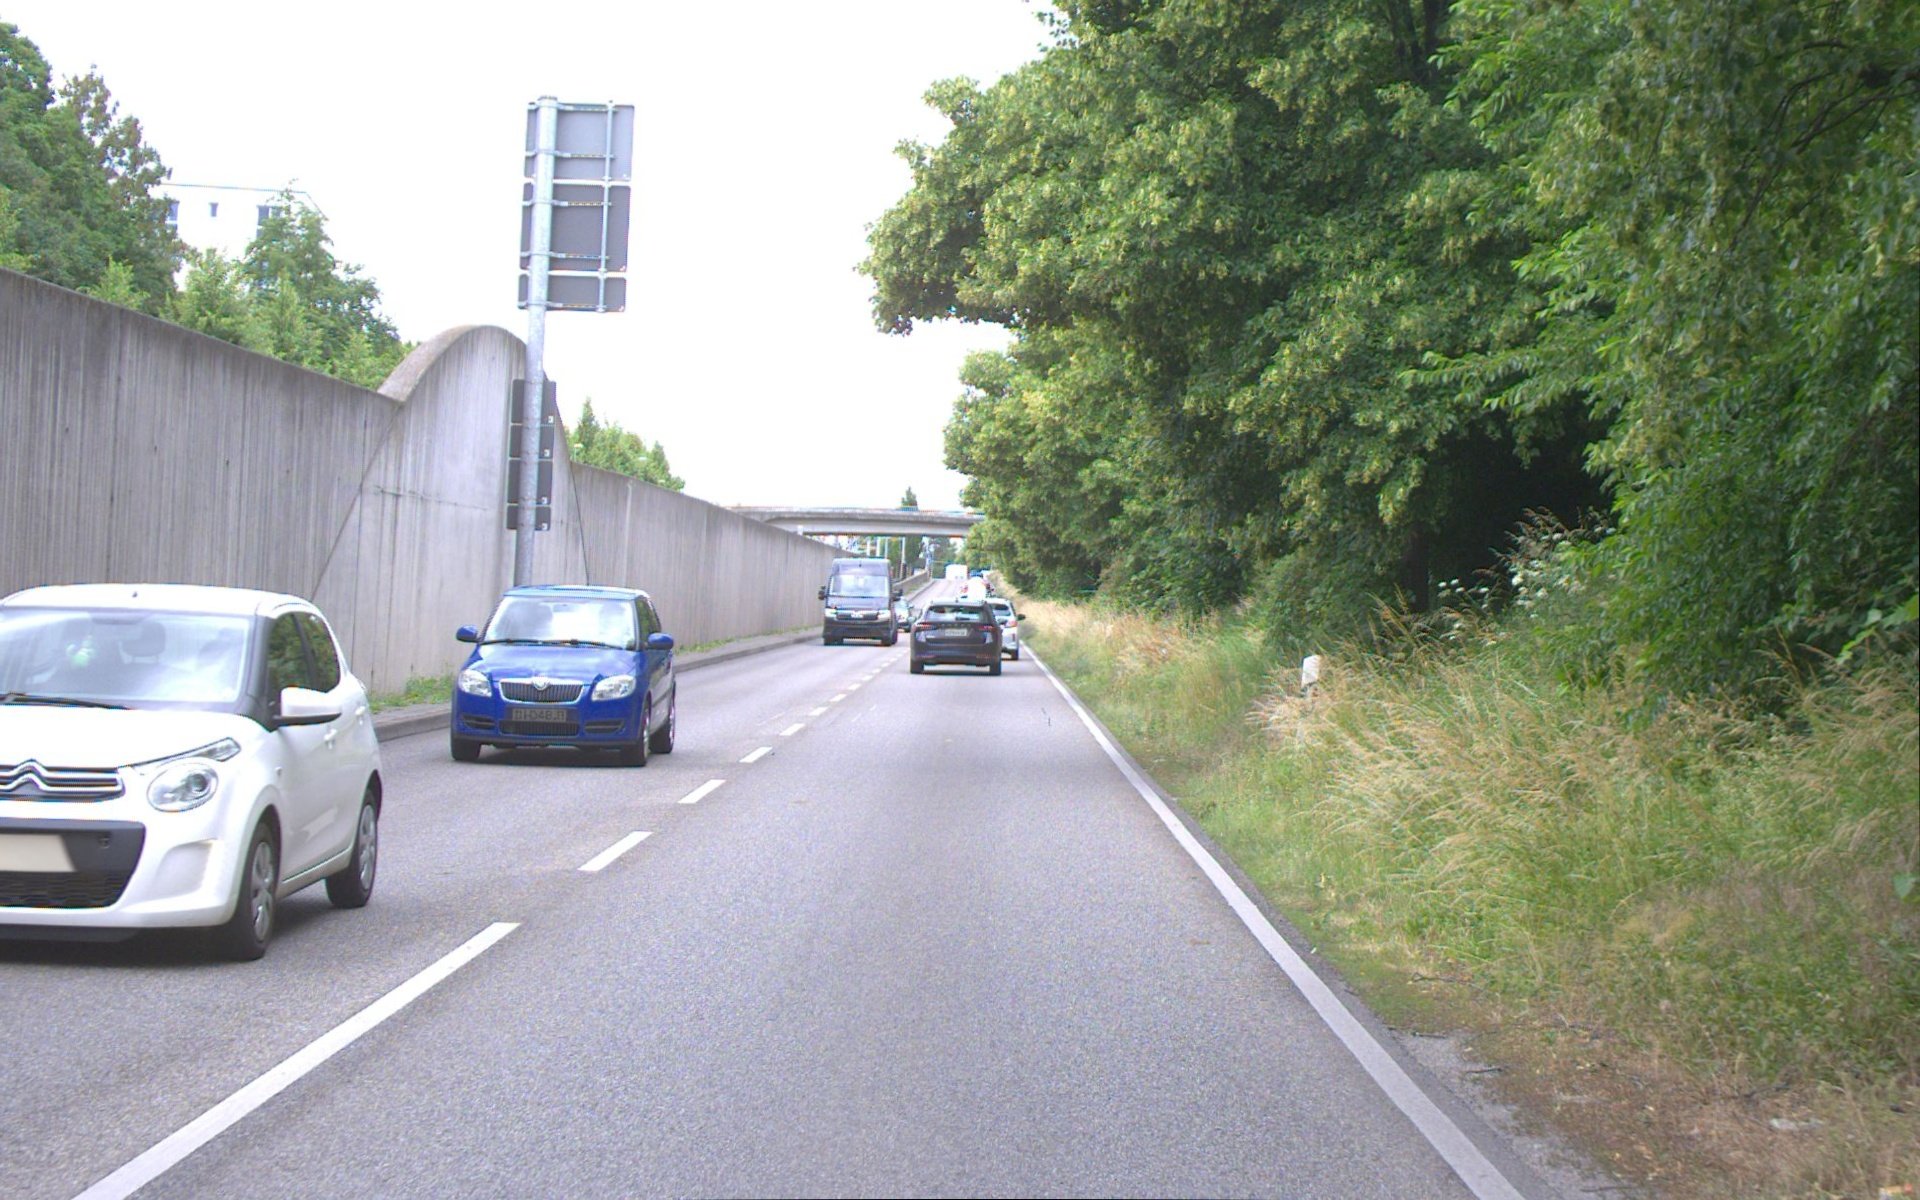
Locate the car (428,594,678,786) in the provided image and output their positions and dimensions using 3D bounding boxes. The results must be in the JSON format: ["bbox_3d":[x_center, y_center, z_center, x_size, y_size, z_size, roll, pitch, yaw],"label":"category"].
[{"bbox_3d":[-3.480,0.740,30.034,1.767,1.490,4.208,2,0,-2],"label":"car"}]

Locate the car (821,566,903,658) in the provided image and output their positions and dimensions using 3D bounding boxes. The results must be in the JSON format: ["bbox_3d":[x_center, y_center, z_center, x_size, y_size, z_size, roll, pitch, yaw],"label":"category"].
[{"bbox_3d":[-2.894,0.384,103.364,2.110,2.622,7.416,1,0,1],"label":"car"}]

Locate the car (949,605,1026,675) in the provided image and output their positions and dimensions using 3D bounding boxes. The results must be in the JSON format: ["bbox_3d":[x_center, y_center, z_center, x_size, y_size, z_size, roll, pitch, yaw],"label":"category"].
[{"bbox_3d":[0.642,0.983,83.459,1.754,1.518,4.036,-2,-2,-1],"label":"car"}]

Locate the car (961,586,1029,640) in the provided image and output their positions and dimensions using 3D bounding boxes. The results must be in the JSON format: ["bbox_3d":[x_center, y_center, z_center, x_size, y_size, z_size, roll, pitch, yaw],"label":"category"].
[{"bbox_3d":[1.066,0.420,107.464,1.866,1.485,4.257,5,-1,-1],"label":"car"}]

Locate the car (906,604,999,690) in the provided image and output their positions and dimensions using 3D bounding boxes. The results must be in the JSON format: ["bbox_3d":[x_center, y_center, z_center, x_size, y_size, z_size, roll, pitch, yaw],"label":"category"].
[{"bbox_3d":[-0.173,0.948,66.868,1.754,1.518,4.036,0,-3,-1],"label":"car"}]

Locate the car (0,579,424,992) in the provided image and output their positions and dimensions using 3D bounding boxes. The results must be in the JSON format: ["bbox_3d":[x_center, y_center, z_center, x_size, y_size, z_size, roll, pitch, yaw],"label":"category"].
[{"bbox_3d":[-3.639,0.677,14.821,1.915,1.490,4.208,2,0,0],"label":"car"}]
